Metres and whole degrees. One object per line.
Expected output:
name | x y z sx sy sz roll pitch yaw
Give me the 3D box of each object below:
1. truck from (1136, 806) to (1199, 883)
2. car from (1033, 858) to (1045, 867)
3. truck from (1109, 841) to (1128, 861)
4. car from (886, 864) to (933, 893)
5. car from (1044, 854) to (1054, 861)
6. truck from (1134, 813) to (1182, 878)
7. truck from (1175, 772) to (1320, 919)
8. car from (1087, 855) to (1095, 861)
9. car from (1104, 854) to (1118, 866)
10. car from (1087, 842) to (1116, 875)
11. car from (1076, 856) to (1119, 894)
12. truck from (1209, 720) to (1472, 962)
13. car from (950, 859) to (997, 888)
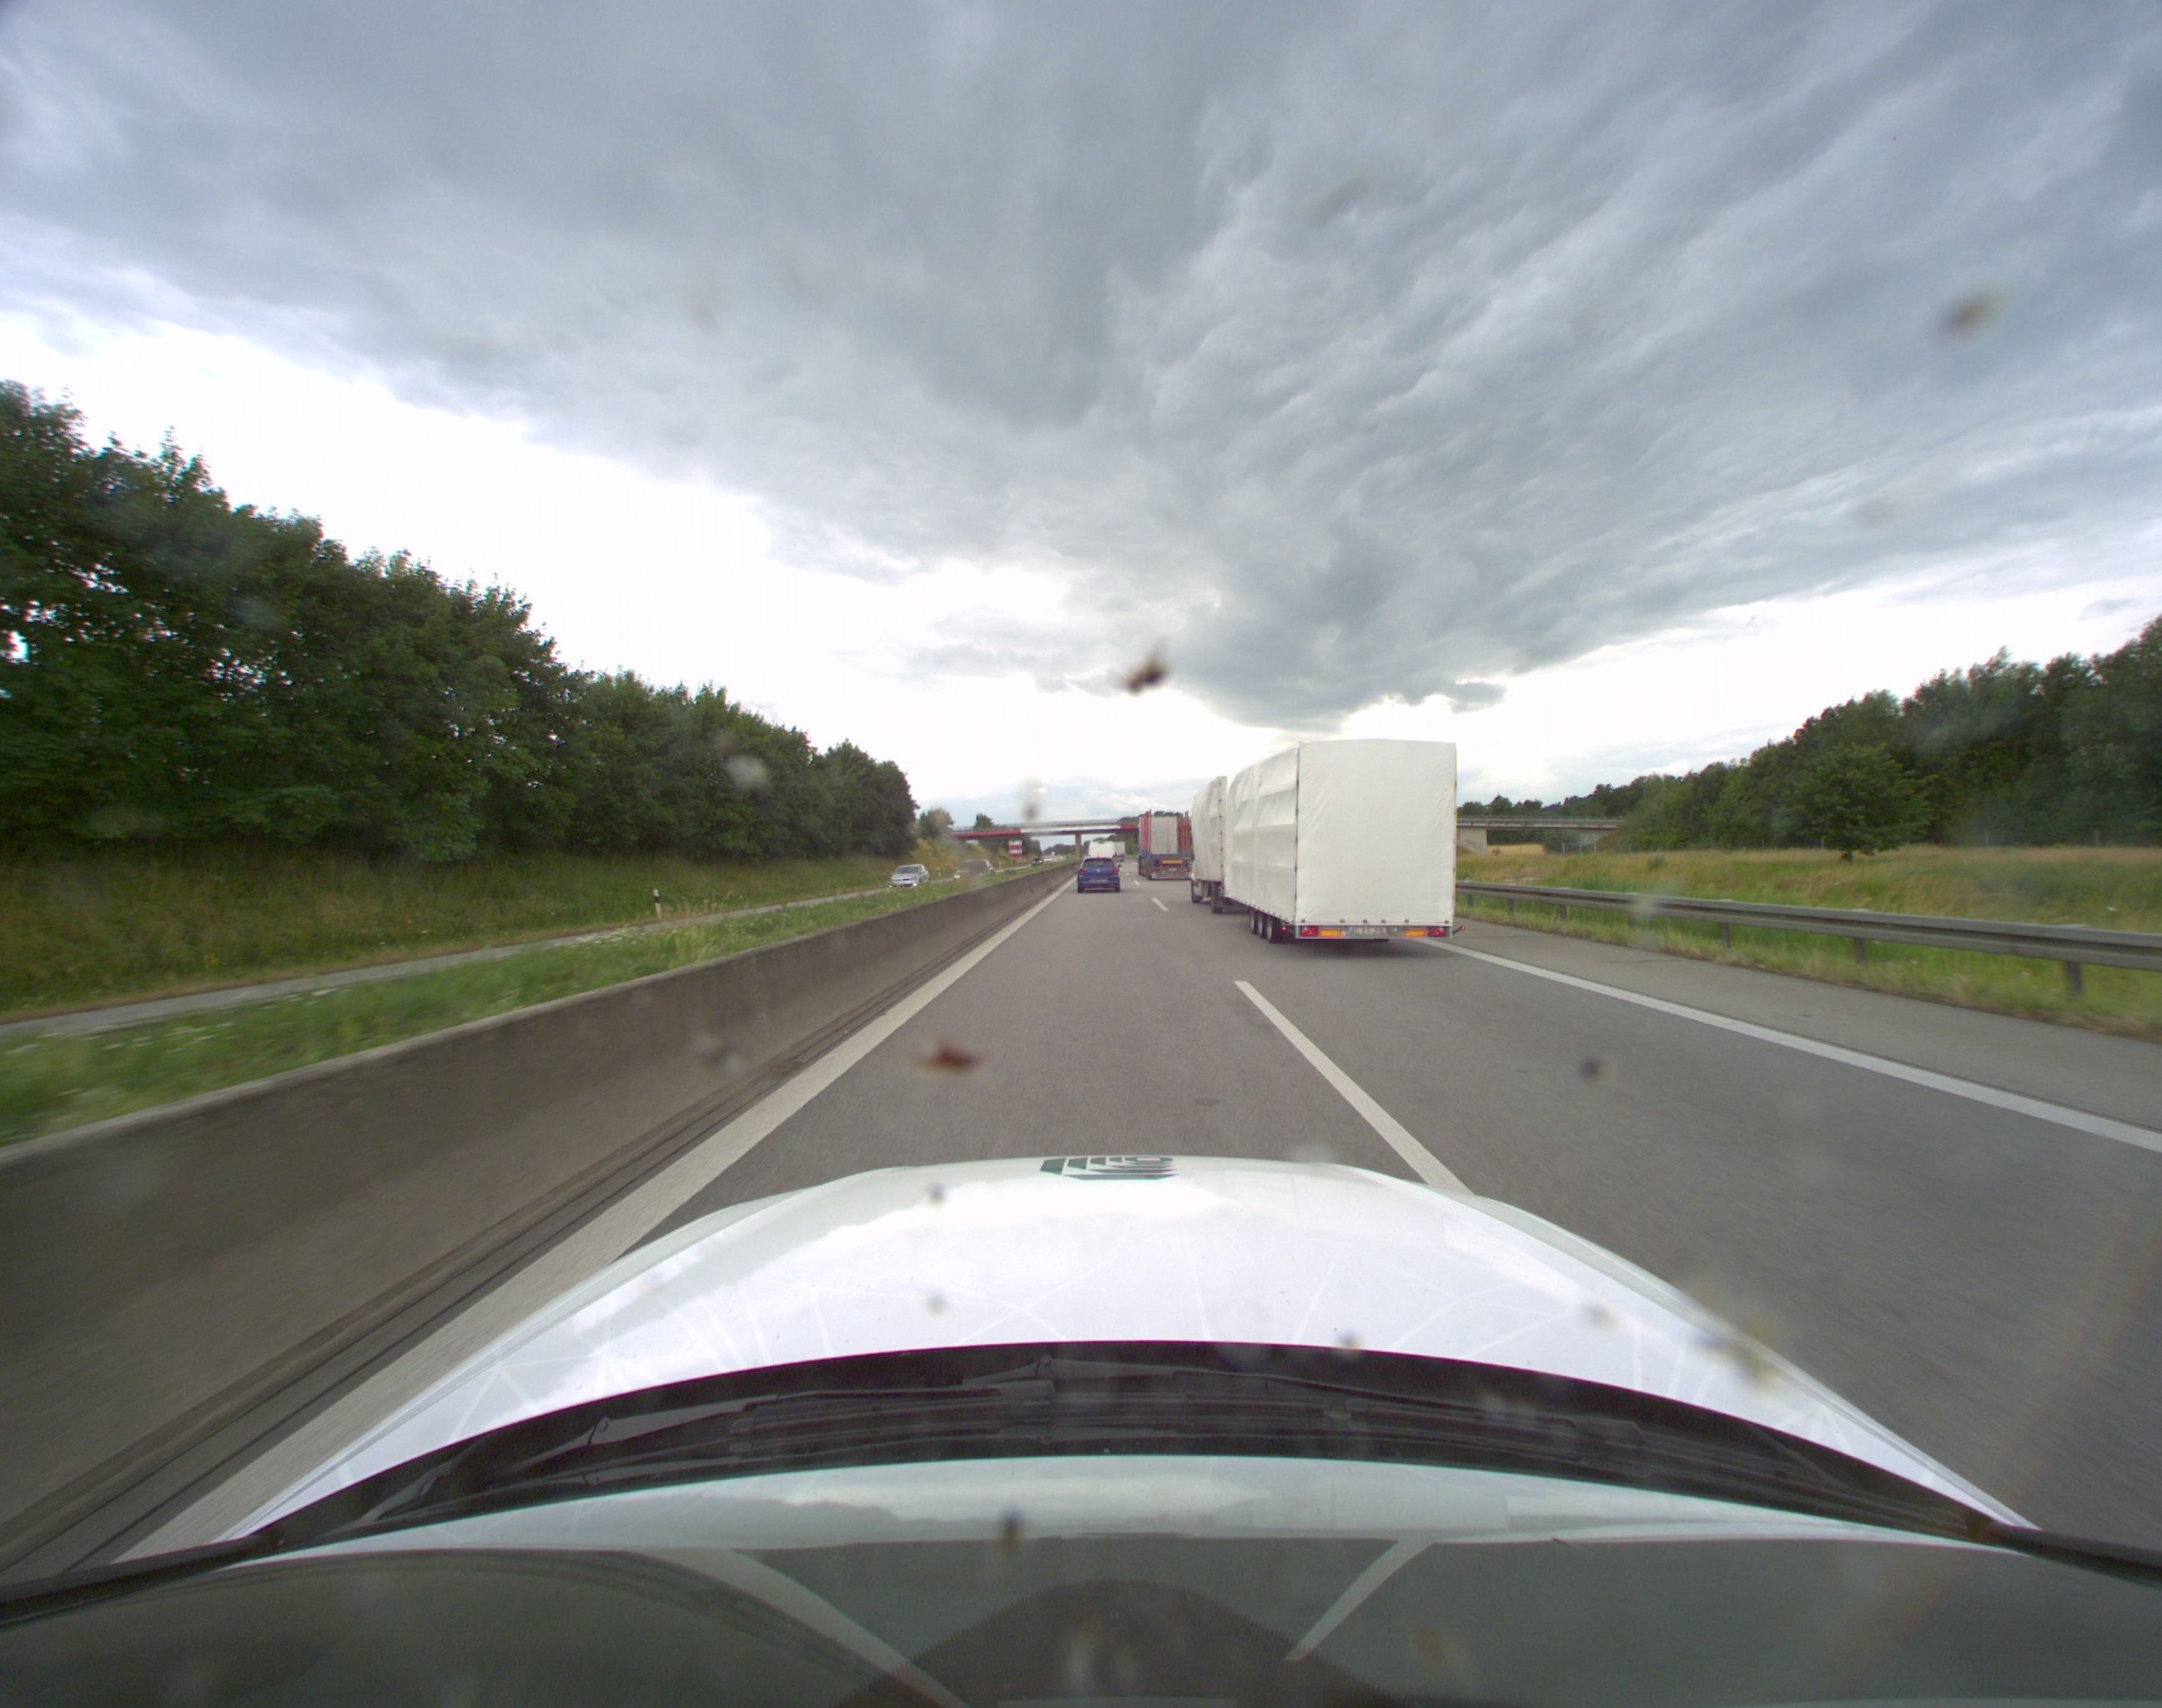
truck | 5.031 -0.549 49.490 2.664 4.045 11.108 -2 0 1
car | -7.104 1.359 137.415 1.640 1.378 4.236 -4 0 2
truck | 7.519 -0.540 163.189 3.101 3.689 9.321 -4 0 0
car | -9.437 1.327 45.099 1.640 1.409 3.888 -4 0 1
car | -7.559 0.889 190.436 1.888 1.461 4.543 -4 0 2
truck | 5.113 -0.585 54.935 2.664 4.045 5.513 -2 0 1
truck | 4.148 -0.185 21.842 2.421 3.243 7.247 -1 0 0
car | 2.704 1.151 220.800 1.986 1.684 4.001 -1 0 1
car | 3.578 0.674 97.696 1.658 1.407 3.649 -1 0 1
car | 1.658 0.328 64.588 2.122 2.482 5.841 -2 0 2
car | 0.687 0.832 33.330 1.657 1.407 3.649 -1 0 1
truck | 4.074 -0.174 14.580 2.407 3.222 7.143 -1 0 0
car | -5.940 1.060 45.550 1.841 1.378 4.602 -4 0 2
